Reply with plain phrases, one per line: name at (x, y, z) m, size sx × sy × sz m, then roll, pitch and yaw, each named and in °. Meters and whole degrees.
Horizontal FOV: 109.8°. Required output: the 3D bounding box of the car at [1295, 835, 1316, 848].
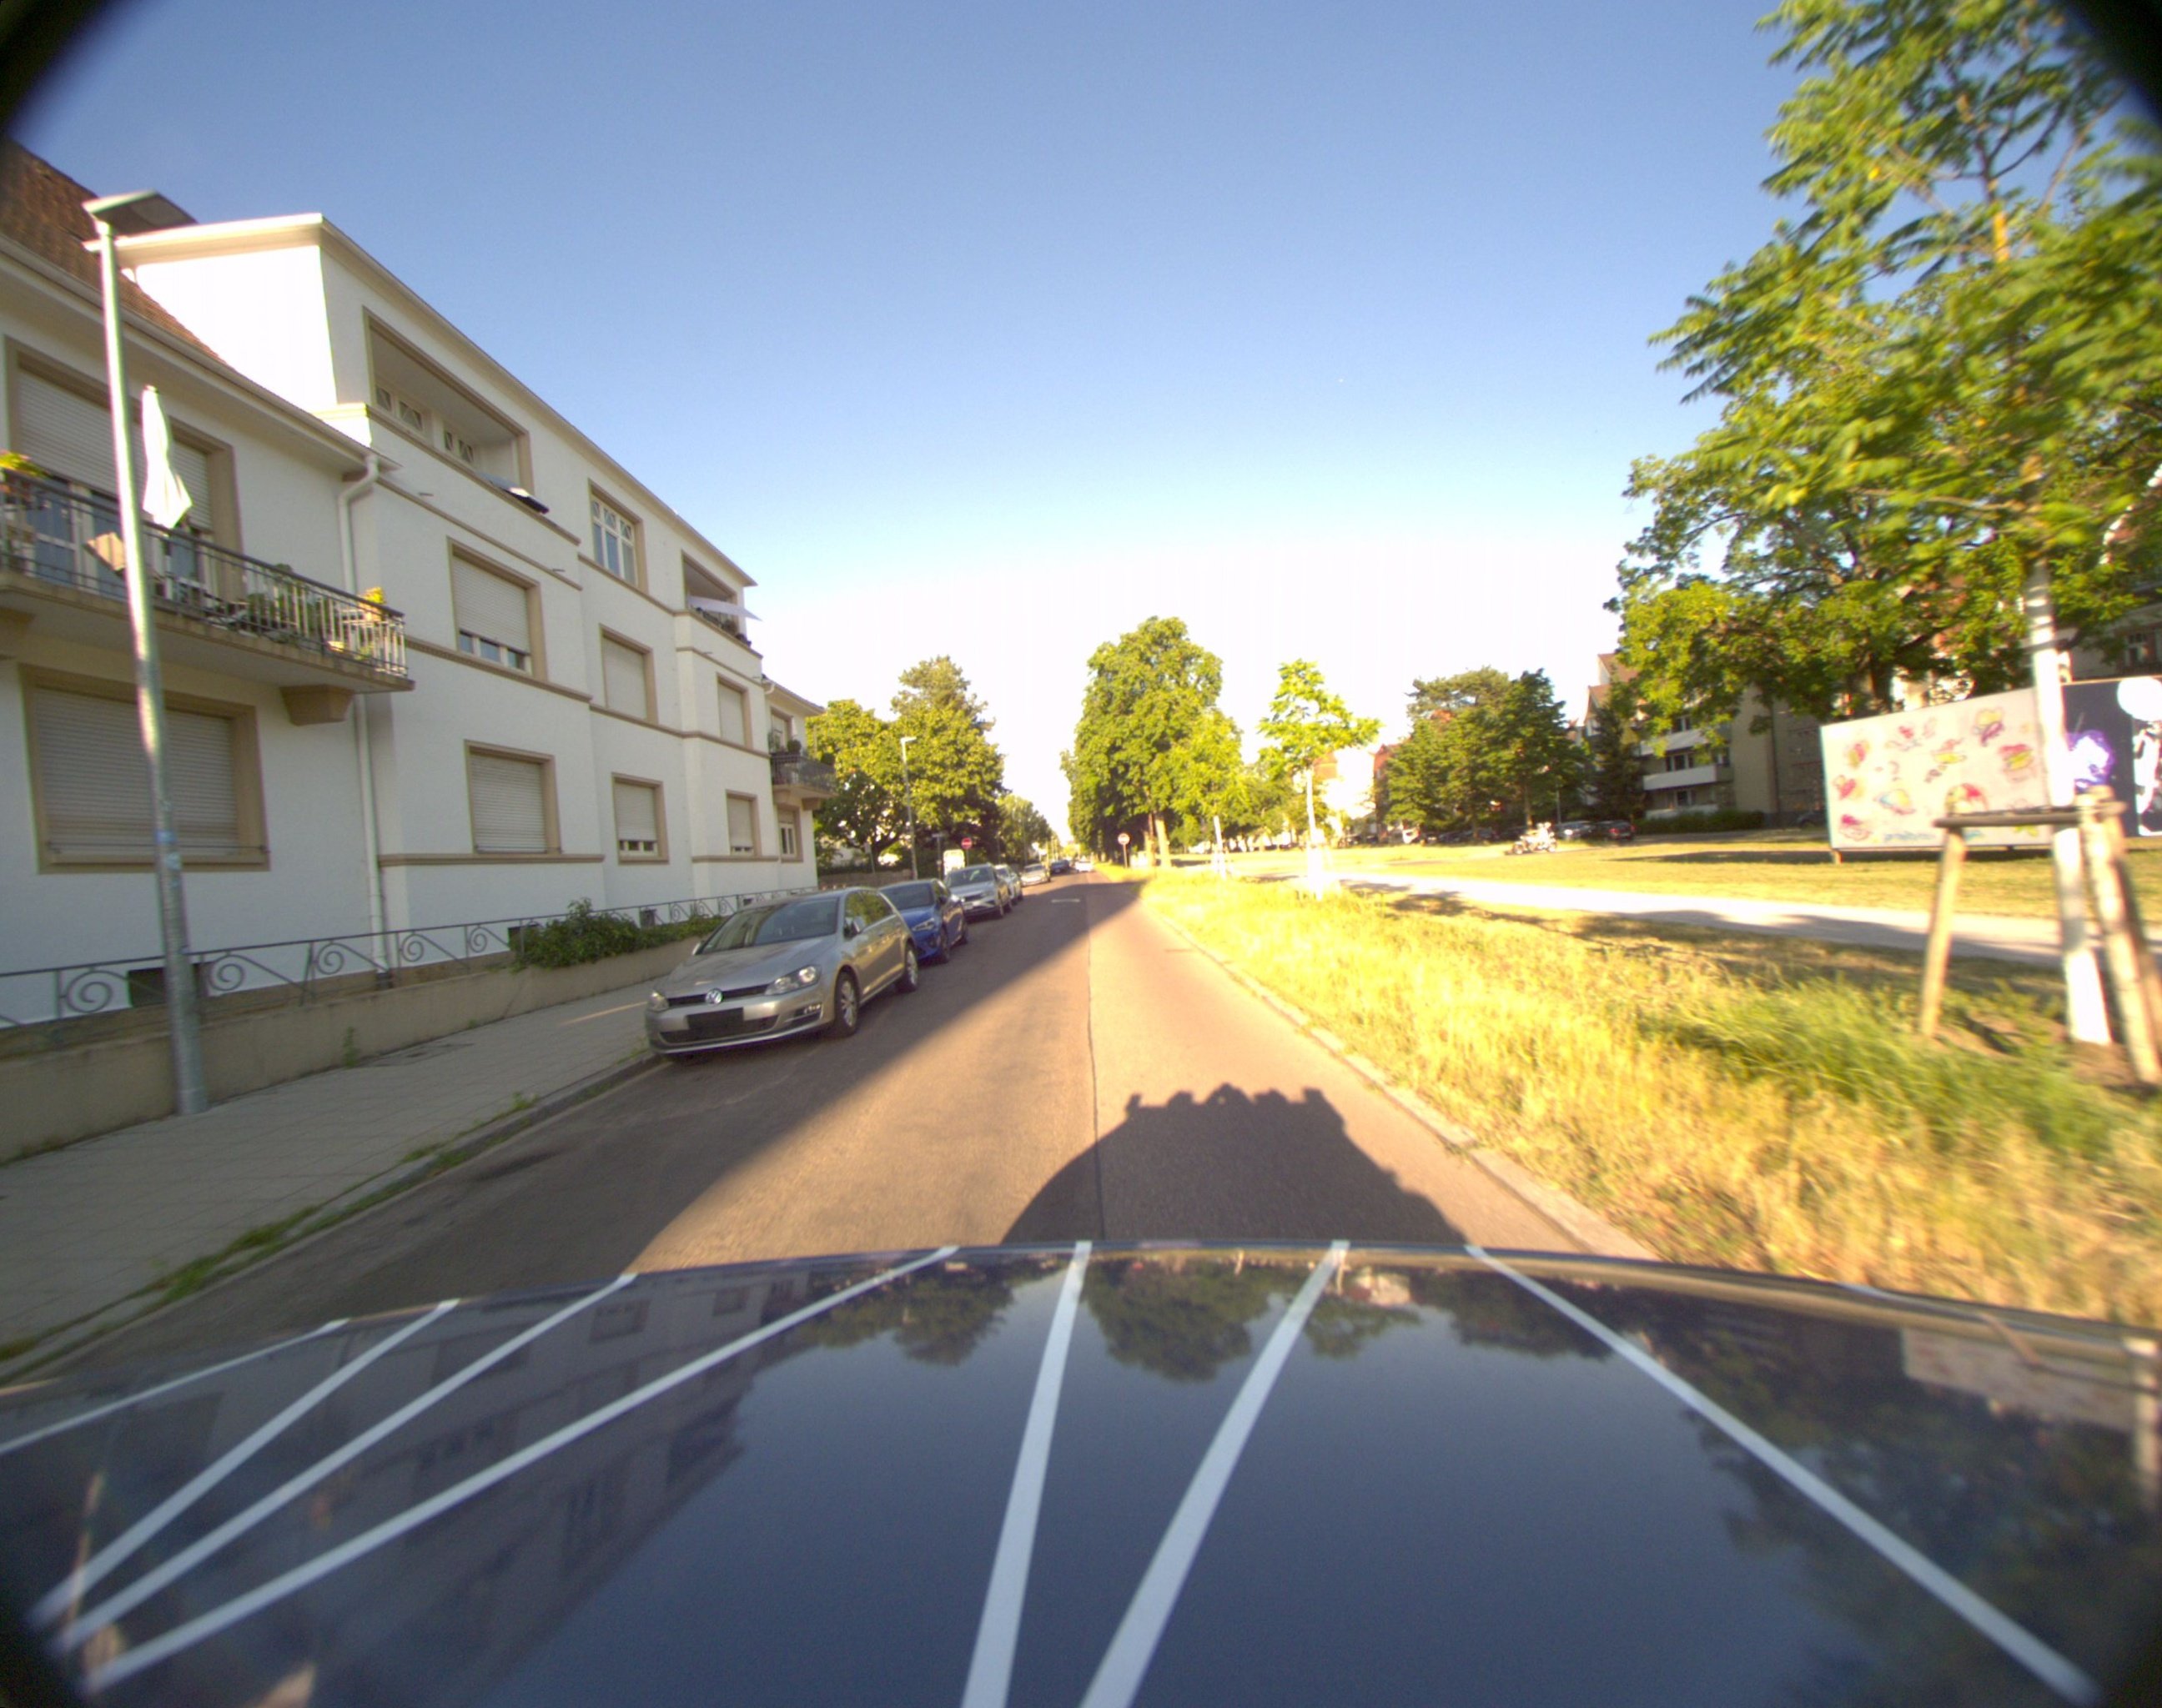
car at (34.563, -1.901, 116.968) m, size 1.998 × 1.692 × 4.000 m, roll -4°, pitch -1°, yaw 1°

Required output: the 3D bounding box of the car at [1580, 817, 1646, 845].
car at (34.232, -1.449, 49.027) m, size 1.894 × 1.513 × 3.681 m, roll -4°, pitch 0°, yaw 6°

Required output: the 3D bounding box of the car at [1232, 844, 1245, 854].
car at (34.899, -1.068, 168.235) m, size 1.998 × 2.001 × 4.001 m, roll -4°, pitch -1°, yaw 3°

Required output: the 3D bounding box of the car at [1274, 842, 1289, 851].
car at (40.796, -1.502, 154.645) m, size 1.999 × 1.834 × 3.998 m, roll -1°, pitch 1°, yaw -2°

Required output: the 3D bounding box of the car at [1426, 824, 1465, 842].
car at (33.742, -1.919, 70.364) m, size 1.560 × 1.323 × 3.642 m, roll -4°, pitch -1°, yaw -4°

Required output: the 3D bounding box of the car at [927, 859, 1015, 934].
car at (-3.134, 1.159, 22.663) m, size 1.806 × 1.639 × 4.583 m, roll -9°, pitch 1°, yaw -1°

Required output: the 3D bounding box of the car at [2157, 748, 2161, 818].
car at (39.693, -2.559, 25.312) m, size 1.998 × 2.527 × 3.999 m, roll -4°, pitch 2°, yaw 1°

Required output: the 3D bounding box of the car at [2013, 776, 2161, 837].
car at (33.980, -1.557, 24.673) m, size 1.999 × 1.718 × 4.345 m, roll -4°, pitch -1°, yaw -1°

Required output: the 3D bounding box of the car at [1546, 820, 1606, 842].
car at (39.900, -1.828, 61.337) m, size 1.999 × 1.490 × 3.999 m, roll -4°, pitch -1°, yaw -4°

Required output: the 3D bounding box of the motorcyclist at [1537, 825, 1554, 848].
motorcyclist at (25.066, -0.949, 40.975) m, size 0.574 × 1.143 × 0.752 m, roll -4°, pitch 0°, yaw 43°

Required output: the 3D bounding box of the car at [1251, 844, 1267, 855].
car at (34.605, -0.827, 148.034) m, size 2.125 × 2.002 × 3.999 m, roll -1°, pitch 1°, yaw -1°

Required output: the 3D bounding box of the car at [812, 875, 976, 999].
car at (-3.156, 1.332, 13.780) m, size 1.767 × 1.427 × 4.302 m, roll -10°, pitch 1°, yaw -1°

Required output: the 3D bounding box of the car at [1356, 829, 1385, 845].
car at (34.180, -1.972, 89.853) m, size 1.998 × 1.833 × 3.999 m, roll -1°, pitch 1°, yaw 1°

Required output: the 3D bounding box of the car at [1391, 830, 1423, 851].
car at (40.314, -1.606, 94.052) m, size 1.998 × 2.001 × 4.002 m, roll -12°, pitch -2°, yaw 3°

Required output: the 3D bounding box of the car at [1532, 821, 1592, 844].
car at (33.832, -1.485, 53.526) m, size 1.692 × 1.399 × 3.642 m, roll -4°, pitch -1°, yaw -4°

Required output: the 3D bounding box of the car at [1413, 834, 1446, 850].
car at (40.228, -1.387, 87.873) m, size 1.998 × 1.595 × 4.001 m, roll -4°, pitch 0°, yaw 3°

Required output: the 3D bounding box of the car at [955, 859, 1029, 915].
car at (-3.215, 1.157, 28.503) m, size 1.880 × 1.525 × 4.589 m, roll -10°, pitch 1°, yaw 2°

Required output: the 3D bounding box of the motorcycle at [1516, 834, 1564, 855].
motorcycle at (24.845, -0.501, 41.133) m, size 2.107 × 0.951 × 0.567 m, roll -5°, pitch 0°, yaw 20°

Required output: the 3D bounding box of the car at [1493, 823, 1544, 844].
car at (33.904, -1.592, 58.958) m, size 1.560 × 1.360 × 3.642 m, roll -4°, pitch -1°, yaw -4°

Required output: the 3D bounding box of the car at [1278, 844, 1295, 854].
car at (39.659, -0.983, 146.457) m, size 1.999 × 1.872 × 3.998 m, roll -1°, pitch 1°, yaw -2°

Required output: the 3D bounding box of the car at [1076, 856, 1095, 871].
car at (0.555, 1.088, 85.577) m, size 1.998 × 1.483 × 4.000 m, roll -3°, pitch 0°, yaw 1°

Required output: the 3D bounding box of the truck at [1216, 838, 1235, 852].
truck at (34.860, -2.160, 183.910) m, size 2.785 × 3.127 × 7.710 m, roll -4°, pitch 0°, yaw -1°

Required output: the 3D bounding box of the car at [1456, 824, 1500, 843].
car at (34.030, -1.758, 65.225) m, size 1.560 × 1.407 × 3.642 m, roll -4°, pitch -1°, yaw -4°

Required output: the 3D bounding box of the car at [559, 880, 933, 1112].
car at (-3.185, 1.237, 8.493) m, size 1.916 × 1.550 × 4.567 m, roll -9°, pitch -1°, yaw 1°

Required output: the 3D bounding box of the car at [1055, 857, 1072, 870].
car at (-2.384, 1.295, 103.275) m, size 1.998 × 1.624 × 4.001 m, roll -4°, pitch -1°, yaw 1°

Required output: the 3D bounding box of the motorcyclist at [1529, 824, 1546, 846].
motorcyclist at (25.010, -1.051, 41.648) m, size 0.574 × 1.143 × 0.752 m, roll -4°, pitch 0°, yaw 43°

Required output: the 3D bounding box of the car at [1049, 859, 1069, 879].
car at (-2.537, 1.788, 88.876) m, size 1.998 × 2.179 × 4.001 m, roll -4°, pitch -1°, yaw 1°

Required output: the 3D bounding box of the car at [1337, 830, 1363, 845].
car at (34.150, -2.084, 96.627) m, size 1.998 × 1.833 × 3.999 m, roll -1°, pitch 1°, yaw 1°

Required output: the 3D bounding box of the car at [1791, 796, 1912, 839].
car at (39.738, -1.842, 39.353) m, size 1.624 × 1.814 × 4.287 m, roll -4°, pitch -1°, yaw -4°

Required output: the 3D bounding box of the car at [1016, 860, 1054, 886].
car at (-3.089, 1.253, 51.772) m, size 2.111 × 1.396 × 4.132 m, roll -9°, pitch 0°, yaw 1°
